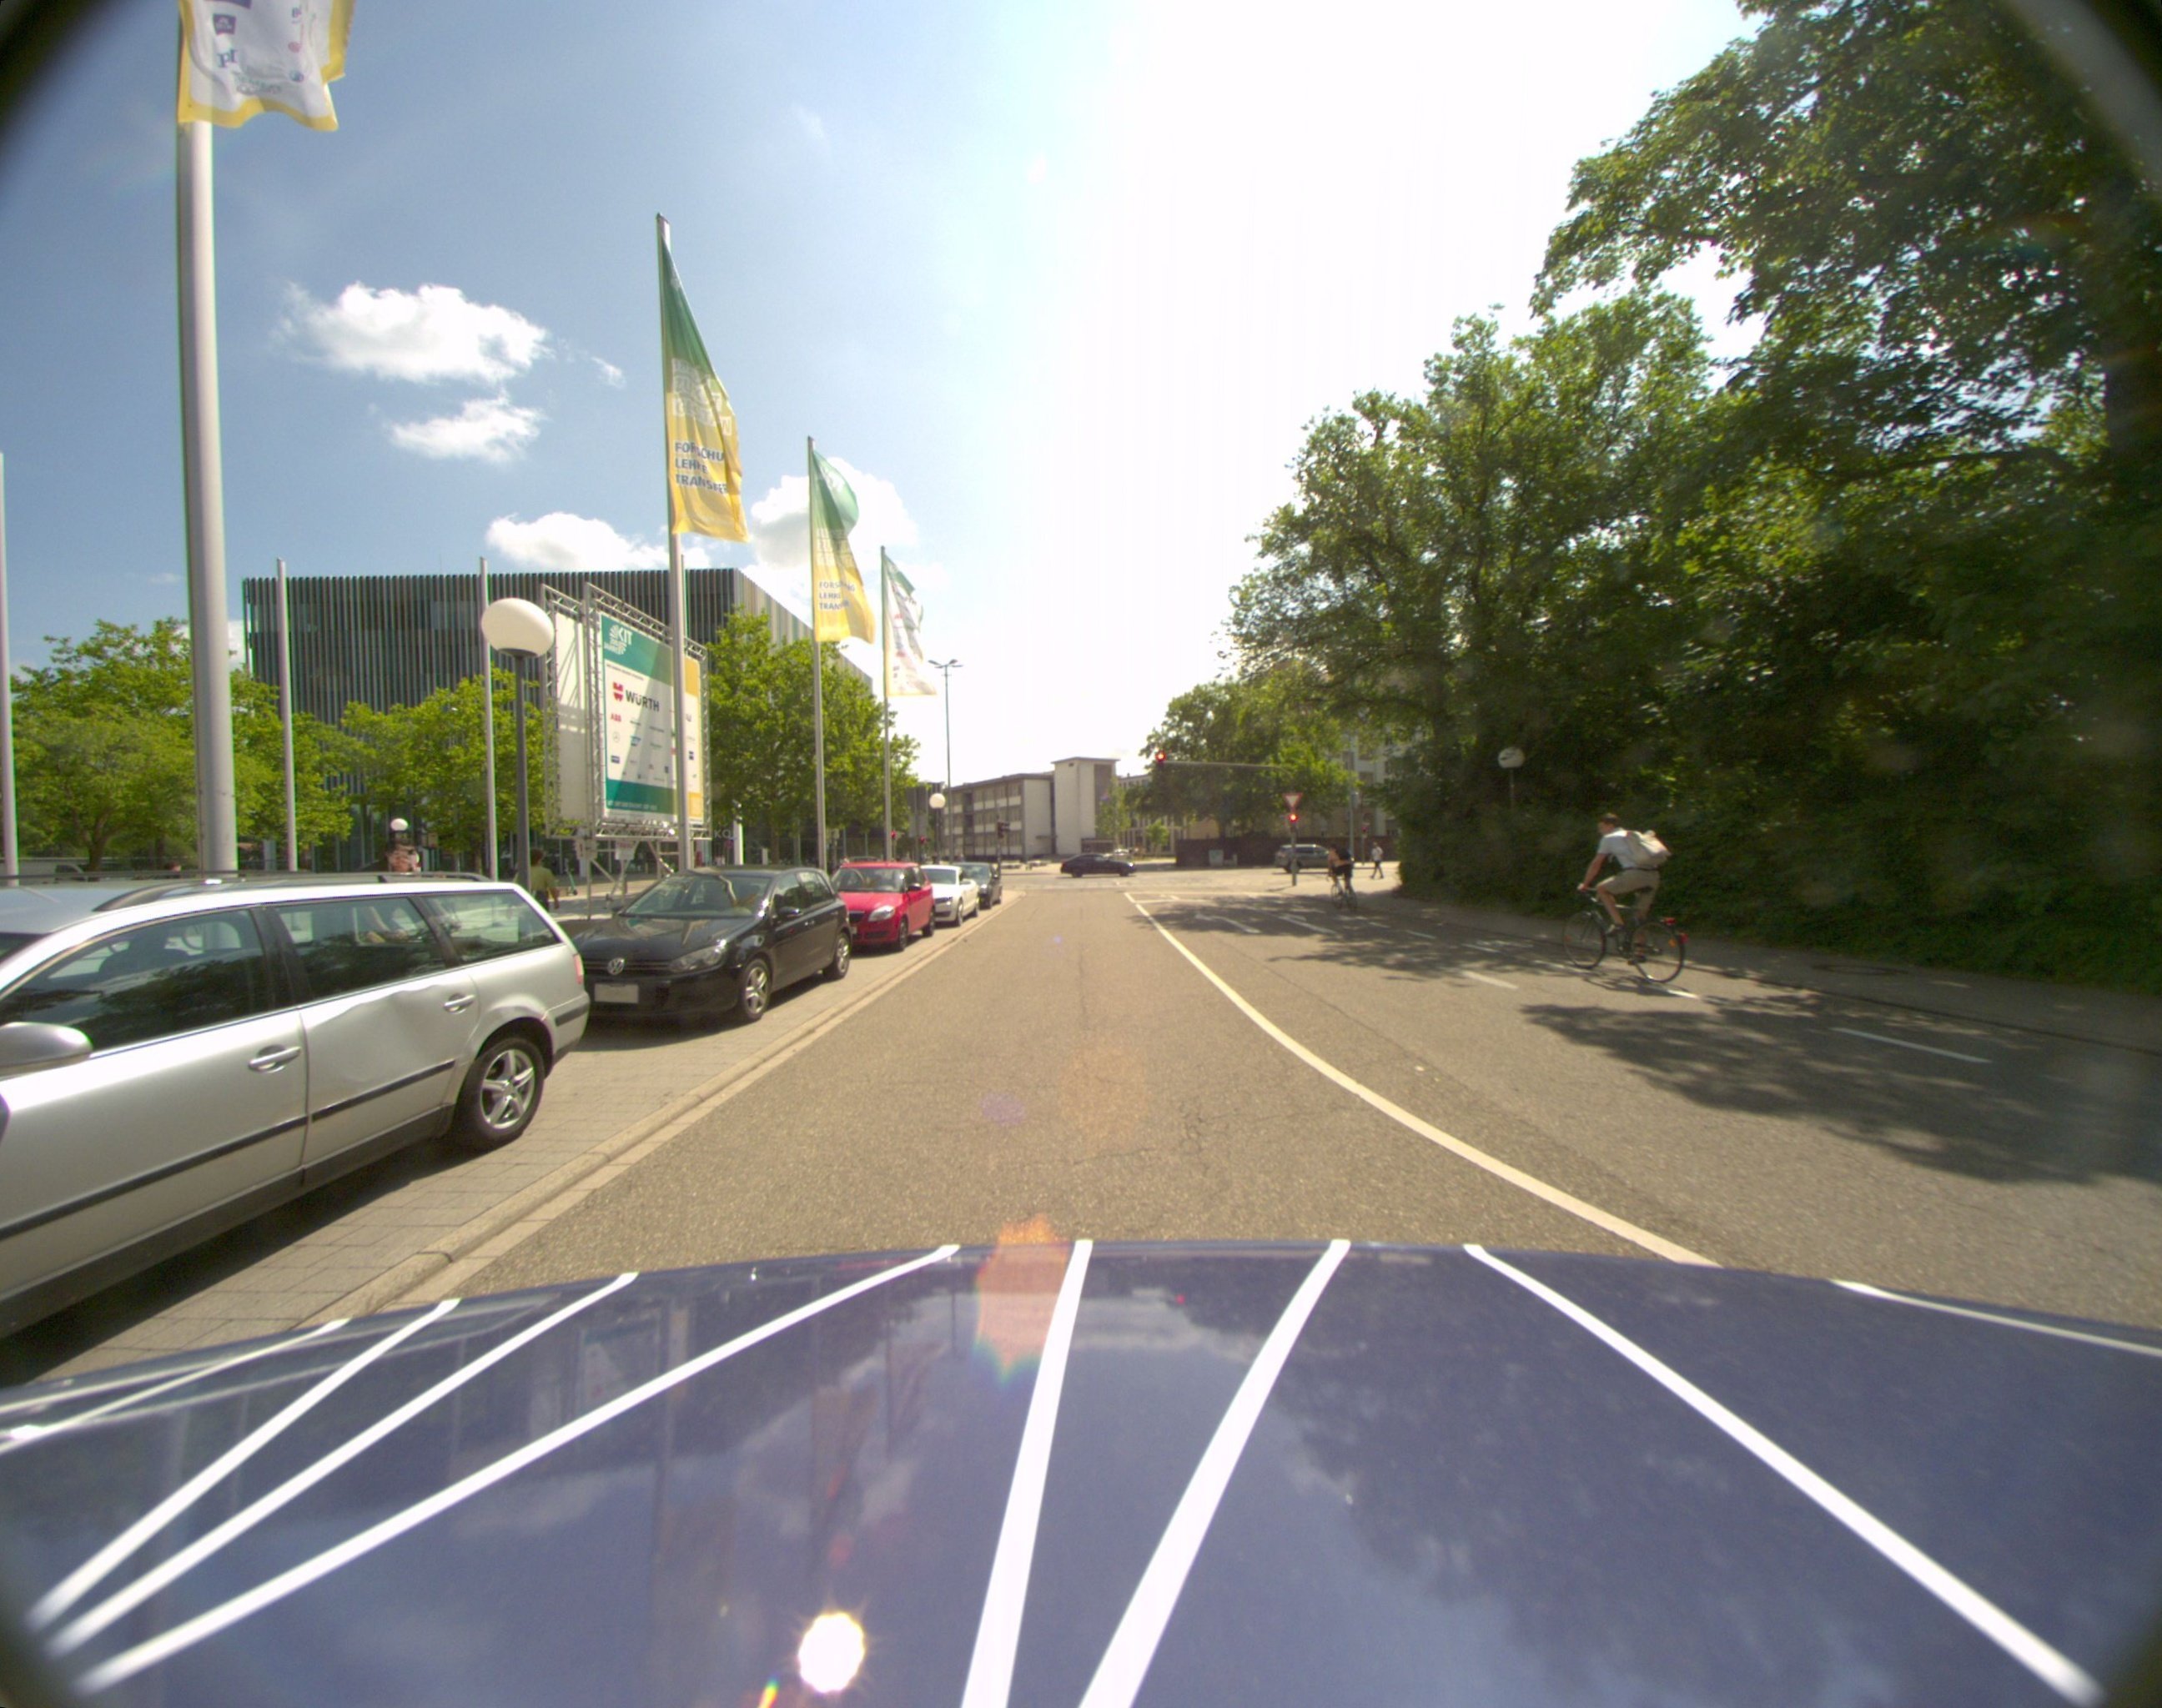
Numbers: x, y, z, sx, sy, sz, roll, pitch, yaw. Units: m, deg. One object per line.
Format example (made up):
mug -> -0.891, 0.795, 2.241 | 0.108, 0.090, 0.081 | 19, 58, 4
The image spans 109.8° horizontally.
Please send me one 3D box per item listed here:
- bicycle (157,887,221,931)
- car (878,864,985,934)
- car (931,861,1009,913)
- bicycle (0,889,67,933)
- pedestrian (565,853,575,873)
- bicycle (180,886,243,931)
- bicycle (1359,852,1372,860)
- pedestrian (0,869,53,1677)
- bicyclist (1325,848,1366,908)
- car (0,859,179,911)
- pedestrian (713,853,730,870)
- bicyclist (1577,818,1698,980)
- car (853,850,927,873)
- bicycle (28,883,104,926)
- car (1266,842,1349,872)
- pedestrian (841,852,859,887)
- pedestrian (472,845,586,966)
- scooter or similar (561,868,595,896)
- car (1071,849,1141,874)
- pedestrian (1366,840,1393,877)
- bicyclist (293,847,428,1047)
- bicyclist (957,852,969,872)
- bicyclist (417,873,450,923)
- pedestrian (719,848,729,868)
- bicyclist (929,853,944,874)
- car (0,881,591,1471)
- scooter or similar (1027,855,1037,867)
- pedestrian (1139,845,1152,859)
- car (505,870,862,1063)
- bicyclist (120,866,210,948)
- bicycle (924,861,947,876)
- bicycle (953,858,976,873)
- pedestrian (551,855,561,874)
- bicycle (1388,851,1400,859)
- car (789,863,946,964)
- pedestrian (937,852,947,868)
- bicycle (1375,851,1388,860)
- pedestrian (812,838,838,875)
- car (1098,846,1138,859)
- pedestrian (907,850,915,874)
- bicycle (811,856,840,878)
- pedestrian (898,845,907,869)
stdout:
bicycle -> -26.009, 1.588, 22.195 | 0.605, 1.093, 1.763 | -3, 3, -30
car -> -3.526, 1.001, 18.734 | 1.722, 1.392, 4.438 | 1, 1, 0
car -> -3.454, 0.983, 24.497 | 1.722, 1.392, 4.948 | 1, 1, 0
bicycle -> -29.331, 1.578, 21.175 | 0.605, 1.092, 1.763 | -3, 1, -30
pedestrian -> -48.654, 0.877, 72.342 | 0.554, 1.832, 0.561 | -1, 2, -7
bicycle -> -25.088, 1.552, 21.956 | 0.605, 1.093, 1.763 | -3, 3, -30
bicycle -> 24.490, 0.147, 65.392 | 0.409, 0.678, 1.005 | -2, 3, -25
pedestrian -> -2.592, 0.894, 1.142 | 0.624, 1.707, 1.040 | -1, 1, -2
bicyclist -> 6.995, 0.622, 20.145 | 0.694, 1.539, 1.018 | -1, 1, -1
car -> -39.367, 1.183, 30.006 | 4.939, 1.854, 1.903 | -1, 2, -2
pedestrian -> -35.444, 0.766, 74.953 | 1.014, 1.641, 1.182 | -1, 1, 1
bicyclist -> 6.268, 0.482, 8.607 | 0.694, 1.727, 0.918 | -1, 1, -1
car -> -13.546, 0.522, 54.163 | 4.712, 1.520, 2.000 | -1, 1, 0
bicycle -> -28.654, 1.395, 21.479 | 0.605, 1.092, 1.763 | -2, 1, -30
car -> 13.462, 0.148, 45.440 | 4.473, 1.669, 1.825 | -1, 2, 6
pedestrian -> -11.811, 0.792, 38.861 | 0.594, 1.790, 0.612 | -2, -1, 35
pedestrian -> -8.255, 0.735, 11.418 | 0.920, 1.730, 1.001 | -1, 1, 0
scooter or similar -> -21.901, 1.225, 33.114 | 1.191, 1.159, 0.353 | -1, 3, 1
car -> 1.560, 0.447, 46.394 | 4.187, 1.408, 1.830 | -1, 2, 3
pedestrian -> 14.003, 0.217, 35.701 | 0.930, 1.690, 0.854 | -1, 0, 3
bicyclist -> -6.090, 0.727, 6.478 | 0.664, 1.555, 0.931 | -2, 1, -35
bicyclist -> -9.519, 0.632, 61.469 | 0.787, 1.530, 0.656 | -2, 2, -24
bicyclist -> -17.286, 1.163, 20.300 | 0.609, 1.312, 0.740 | -1, 0, -38
pedestrian -> -33.458, 0.406, 71.223 | 0.789, 1.831, 0.516 | -2, 1, -21
bicyclist -> -11.479, 0.728, 60.294 | 1.001, 1.606, 0.656 | -2, 2, -28
car -> -3.898, 0.953, 2.555 | 1.724, 1.520, 4.565 | 0, 0, -3
scooter or similar -> -4.180, 0.605, 65.251 | 0.403, 1.060, 1.149 | -2, 1, -27
pedestrian -> 7.732, -0.193, 90.767 | 1.297, 1.641, 1.327 | -1, 1, 13
car -> -3.866, 0.974, 8.285 | 1.723, 1.520, 4.000 | -1, 0, 1
bicyclist -> -18.050, 1.023, 14.999 | 0.682, 1.559, 0.879 | -1, 0, 0
bicycle -> -11.545, 1.152, 60.263 | 1.673, 1.118, 0.693 | -2, 1, -28
bicycle -> -9.448, 0.927, 61.511 | 1.673, 1.118, 0.694 | -2, 1, -24
pedestrian -> -50.203, 1.007, 72.678 | 0.554, 1.832, 0.561 | -1, 2, -7
bicycle -> 27.055, 0.087, 65.702 | 0.409, 0.678, 1.005 | -2, 3, -25
car -> -3.697, 0.957, 13.906 | 1.618, 1.488, 4.147 | 1, 0, 1
pedestrian -> -15.655, 0.637, 85.651 | 0.844, 1.780, 0.676 | -2, 1, -26
bicycle -> 25.884, 0.121, 65.398 | 0.409, 0.678, 1.005 | -2, 3, -25
pedestrian -> -13.152, 0.133, 39.025 | 0.856, 1.808, 1.176 | 1, -3, 1
car -> 4.500, -0.203, 92.987 | 4.501, 1.299, 1.995 | -2, 3, -31
pedestrian -> -13.415, 0.613, 60.044 | 0.576, 1.832, 0.415 | -2, 2, -15
bicycle -> -13.148, 0.695, 39.107 | 0.817, 1.066, 1.892 | 0, -2, 1
pedestrian -> -14.029, 0.237, 59.855 | 0.633, 1.832, 0.479 | -2, 2, -14
